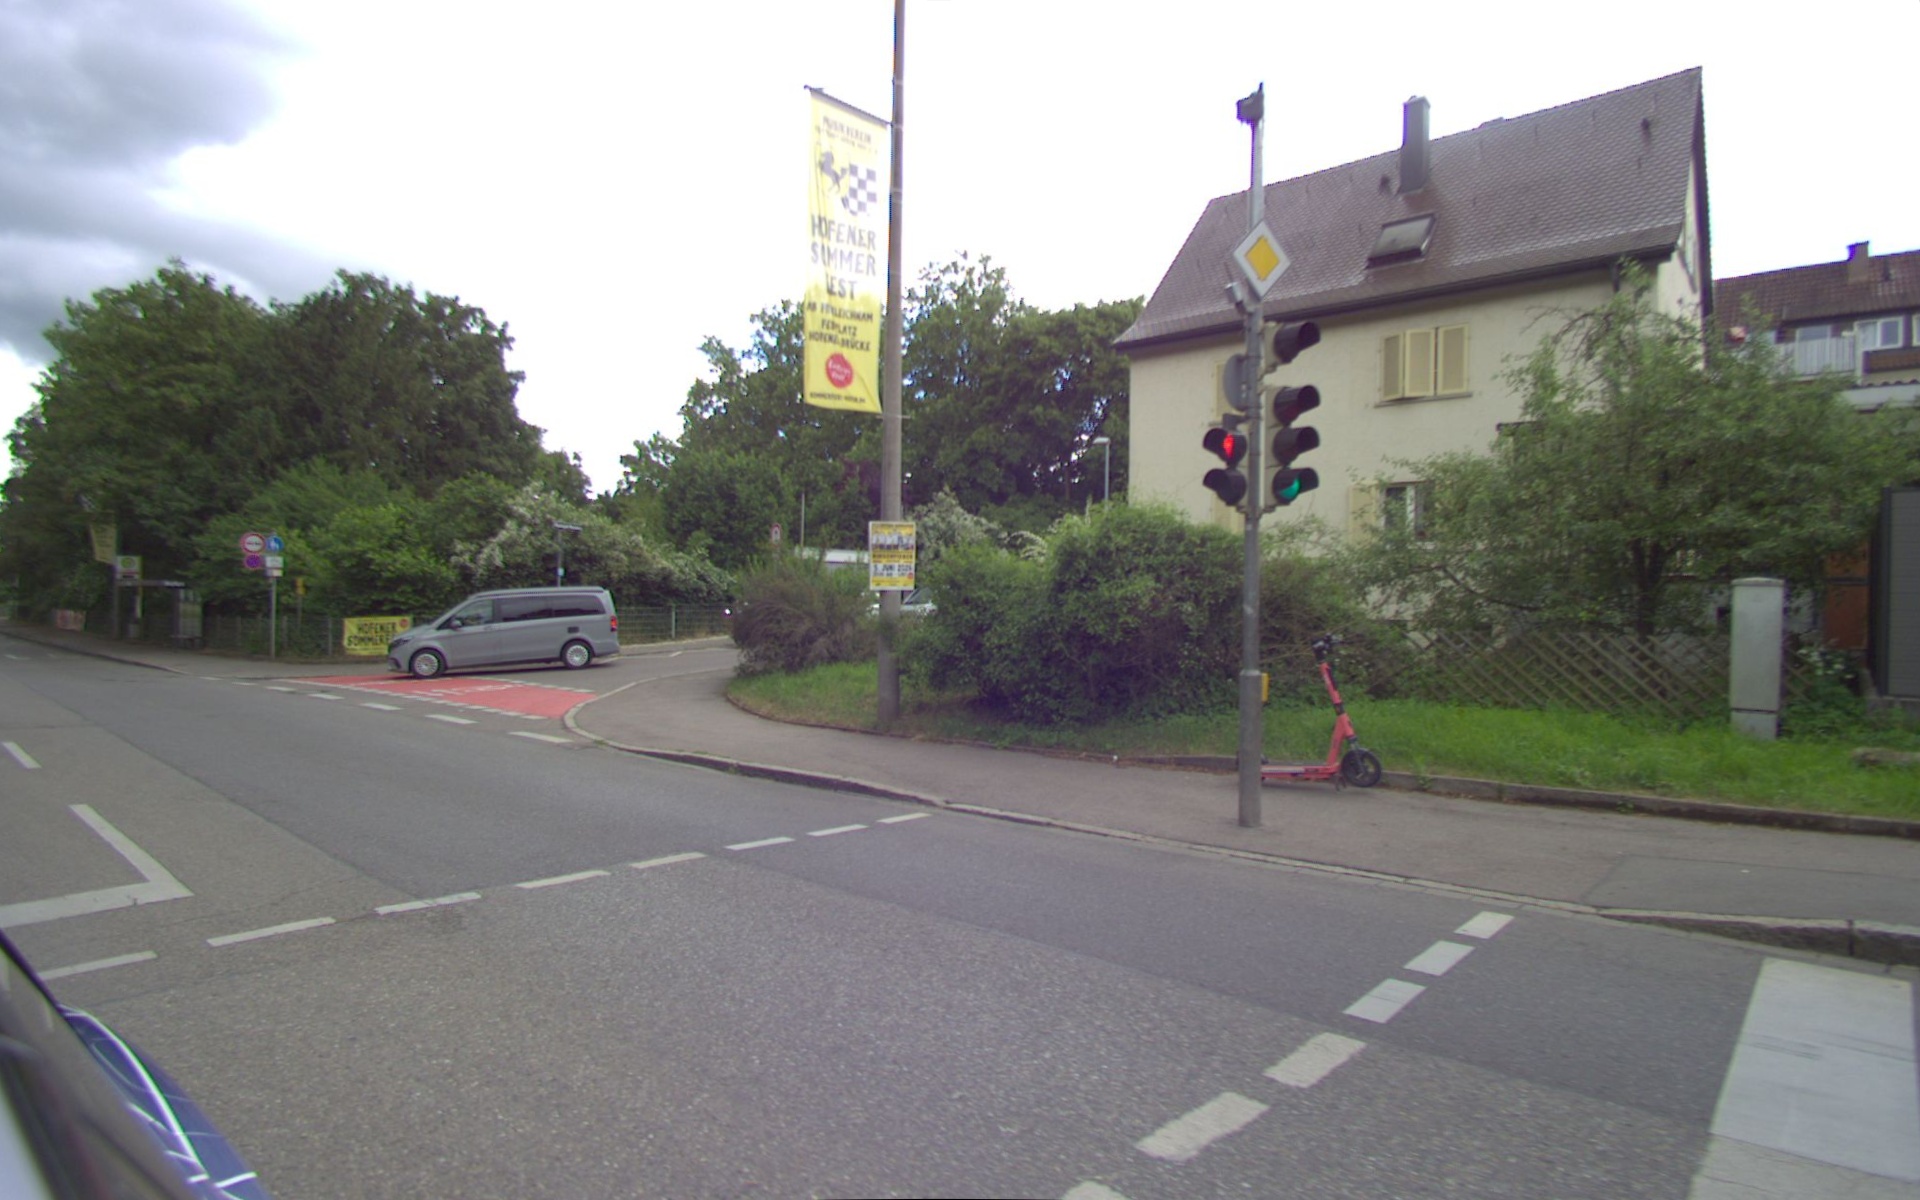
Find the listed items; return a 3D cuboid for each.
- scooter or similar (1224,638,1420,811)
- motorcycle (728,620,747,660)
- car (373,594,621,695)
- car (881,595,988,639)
[{"bbox_3d":[2.915,0.956,8.237,1.426,1.268,0.457,-1,-1,43],"label":"scooter or similar"},{"bbox_3d":[-6.474,1.143,29.428,0.453,1.076,1.653,-1,0,-15],"label":"motorcycle"},{"bbox_3d":[-10.851,0.970,24.028,5.066,1.942,1.959,-3,1,-23],"label":"car"},{"bbox_3d":[-0.880,0.602,36.871,1.799,1.453,3.857,-2,0,40],"label":"car"}]
